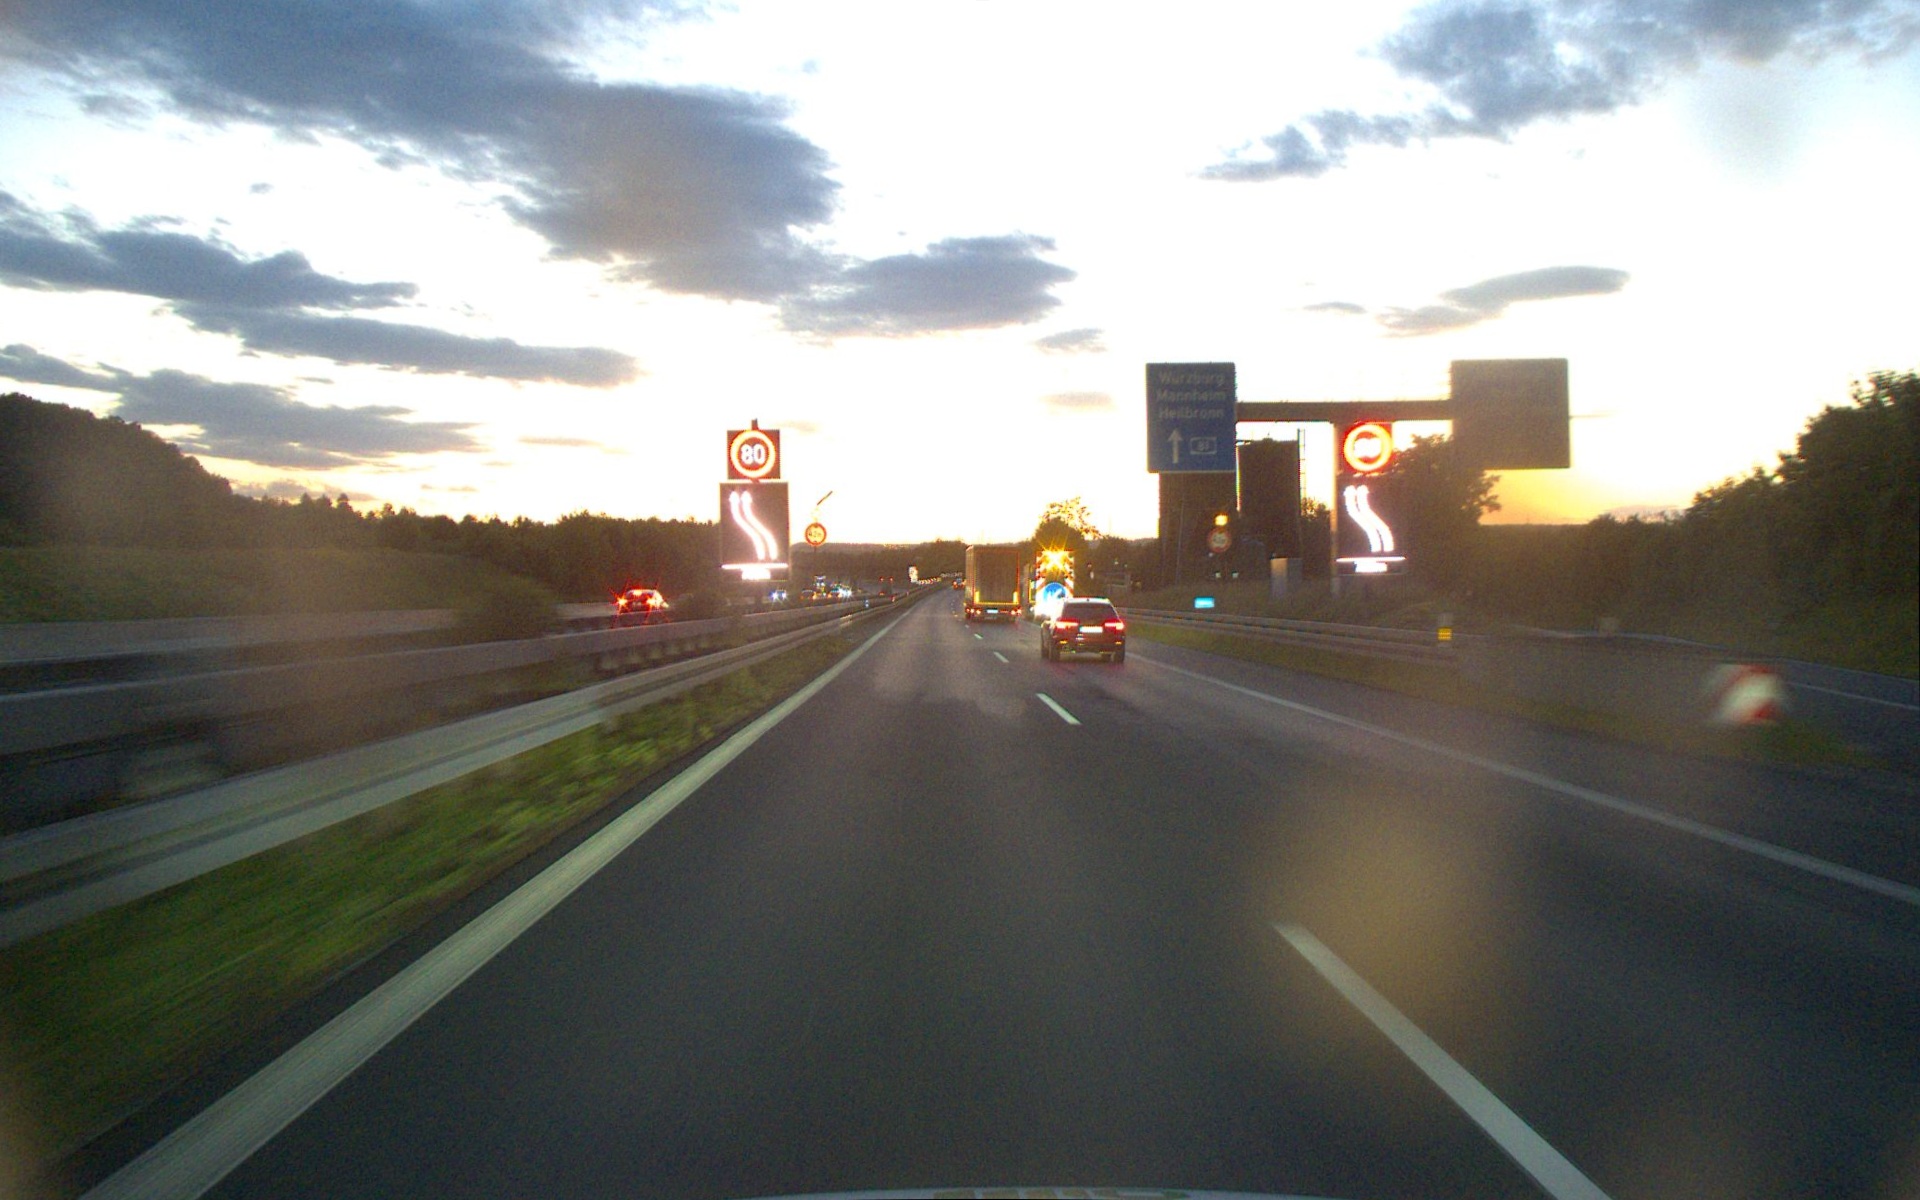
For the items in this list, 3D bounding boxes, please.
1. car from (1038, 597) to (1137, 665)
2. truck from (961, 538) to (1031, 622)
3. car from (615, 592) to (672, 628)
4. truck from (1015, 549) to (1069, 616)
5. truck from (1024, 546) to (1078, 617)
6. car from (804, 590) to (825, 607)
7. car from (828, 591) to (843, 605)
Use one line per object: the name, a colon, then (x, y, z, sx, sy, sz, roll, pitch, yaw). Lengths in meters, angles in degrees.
car: (2.986, 0.699, 39.442, 1.876, 1.467, 3.998, -2, 0, -2)
truck: (1.909, -1.055, 92.501, 3.439, 4.376, 9.888, -1, 0, -1)
car: (-14.750, 0.456, 77.345, 1.834, 1.588, 4.519, -1, 0, -1)
truck: (5.202, -1.100, 106.712, 2.854, 4.183, 9.147, 0, 0, -1)
truck: (5.402, -1.096, 98.917, 2.731, 4.129, 6.410, 0, 0, -1)
car: (-14.048, -0.134, 159.675, 1.678, 1.633, 3.721, -1, 0, -1)
car: (-14.712, -0.243, 195.582, 1.604, 1.573, 3.394, -1, 0, -1)
